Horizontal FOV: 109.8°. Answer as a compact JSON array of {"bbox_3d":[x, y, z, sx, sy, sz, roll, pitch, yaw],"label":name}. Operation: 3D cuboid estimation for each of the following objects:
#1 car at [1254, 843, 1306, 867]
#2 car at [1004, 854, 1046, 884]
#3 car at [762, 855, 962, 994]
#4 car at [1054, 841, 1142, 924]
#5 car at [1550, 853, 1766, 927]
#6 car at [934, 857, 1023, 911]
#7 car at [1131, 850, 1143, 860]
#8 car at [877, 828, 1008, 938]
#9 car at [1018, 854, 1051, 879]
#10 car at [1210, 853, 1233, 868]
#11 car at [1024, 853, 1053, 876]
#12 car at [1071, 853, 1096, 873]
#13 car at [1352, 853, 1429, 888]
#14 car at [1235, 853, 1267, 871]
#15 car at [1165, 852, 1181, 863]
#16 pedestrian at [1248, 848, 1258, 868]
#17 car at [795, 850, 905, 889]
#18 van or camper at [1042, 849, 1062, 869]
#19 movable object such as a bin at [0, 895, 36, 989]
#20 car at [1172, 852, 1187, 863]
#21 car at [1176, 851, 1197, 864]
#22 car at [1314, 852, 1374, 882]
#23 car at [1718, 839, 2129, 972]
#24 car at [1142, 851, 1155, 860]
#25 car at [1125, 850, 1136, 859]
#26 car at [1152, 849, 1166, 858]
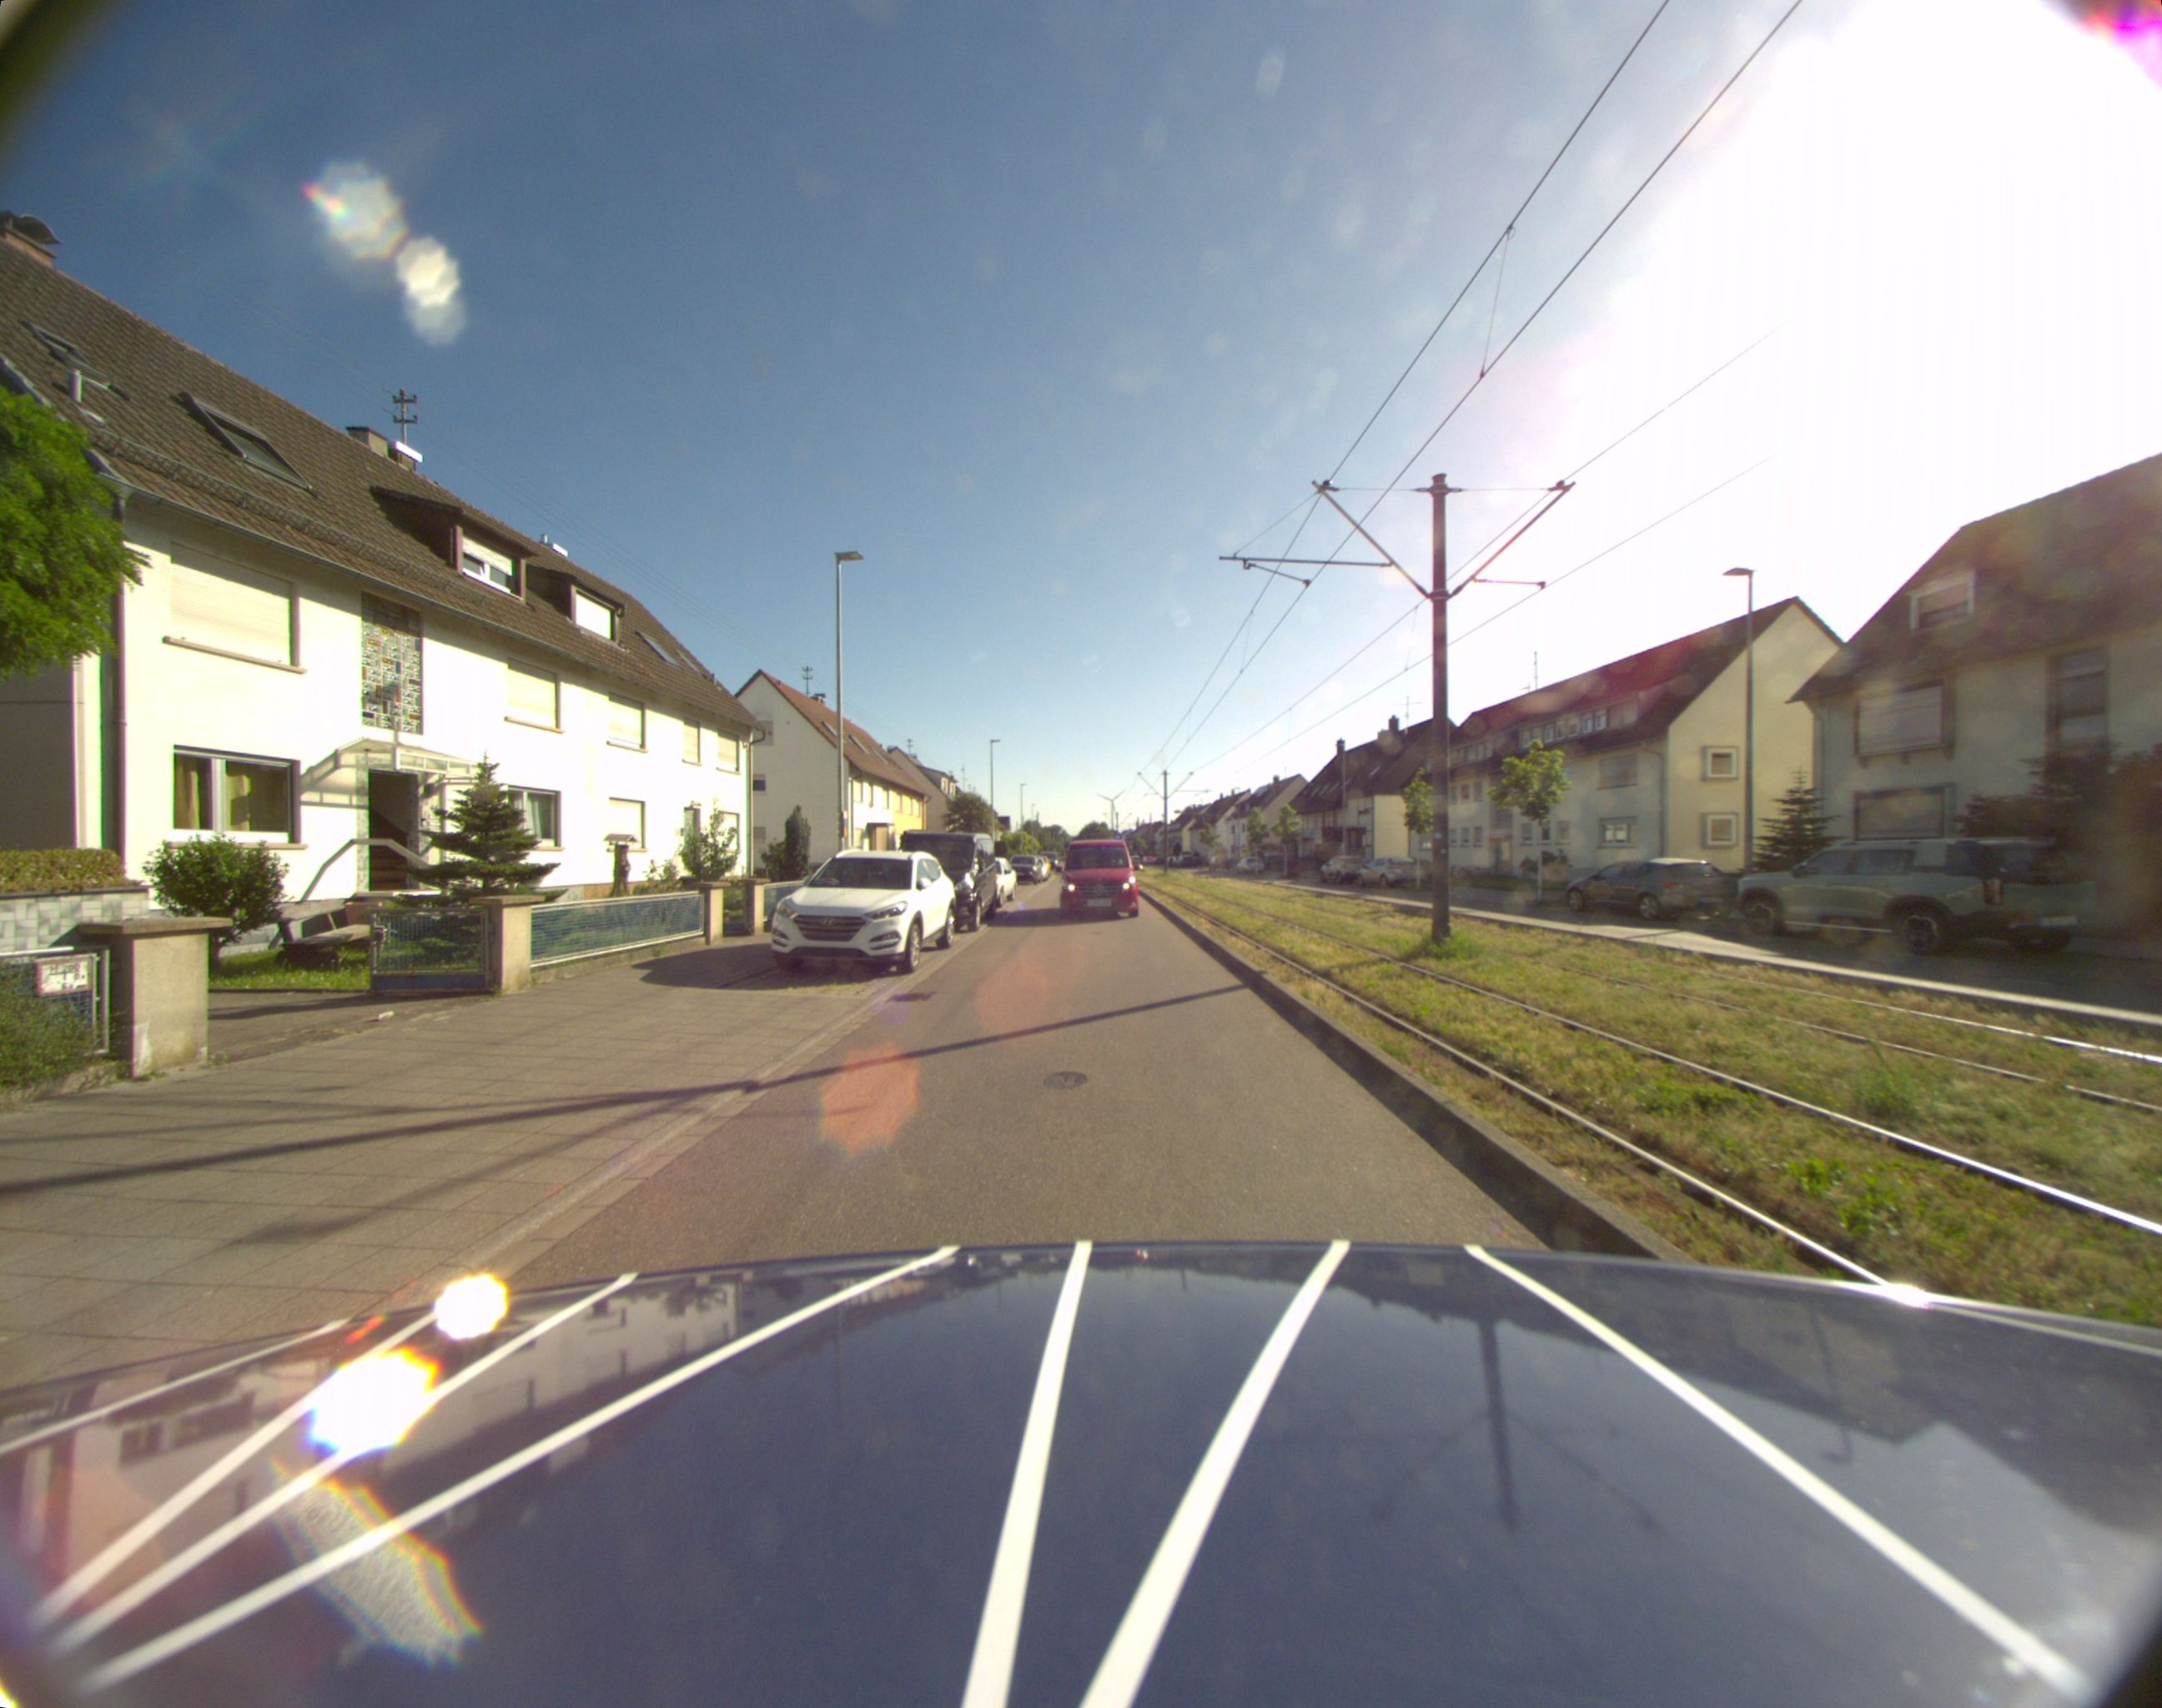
[{"bbox_3d":[19.180,0.073,73.295,4.472,2.069,1.787,-4,1,1],"label":"car"},{"bbox_3d":[-2.959,0.773,40.924,1.782,1.490,4.728,0,0,1],"label":"car"},{"bbox_3d":[-3.059,0.880,11.569,1.730,1.636,4.318,1,1,1],"label":"car"},{"bbox_3d":[0.358,0.630,20.274,1.999,1.889,5.389,-1,1,-1],"label":"car"},{"bbox_3d":[14.149,0.788,19.042,1.965,1.531,4.556,-2,1,1],"label":"car"},{"bbox_3d":[-3.102,0.860,24.242,1.857,1.435,5.614,2,0,2],"label":"car"},{"bbox_3d":[9.275,0.154,126.115,1.693,1.467,3.679,-2,1,-1],"label":"car"},{"bbox_3d":[-2.973,0.548,17.558,1.964,2.132,5.335,1,1,1],"label":"car"},{"bbox_3d":[-2.808,0.759,46.452,1.752,1.438,4.698,0,-1,0],"label":"car"},{"bbox_3d":[14.274,0.646,77.529,1.623,1.503,4.085,-2,0,1],"label":"car"},{"bbox_3d":[-2.964,0.712,54.051,1.810,1.550,4.925,1,1,0],"label":"car"},{"bbox_3d":[0.219,0.773,66.707,1.862,1.592,4.327,2,1,-3],"label":"car"},{"bbox_3d":[14.305,0.715,35.363,1.693,1.467,4.442,-2,1,-1],"label":"car"},{"bbox_3d":[14.412,0.633,64.637,1.662,1.428,4.102,-1,0,-1],"label":"car"},{"bbox_3d":[13.170,0.441,108.951,1.658,1.447,4.400,-2,1,-1],"label":"car"},{"bbox_3d":[16.113,0.393,71.225,0.617,1.805,0.678,-2,1,-9],"label":"pedestrian"},{"bbox_3d":[-10.528,0.699,34.914,4.426,1.645,2.196,-1,1,-3],"label":"car"},{"bbox_3d":[-2.846,0.462,76.193,1.954,1.836,5.581,1,1,-1],"label":"van or camper"},{"bbox_3d":[-12.725,1.002,8.571,1.062,1.054,0.578,0,1,1],"label":"movable object such as a bin"},{"bbox_3d":[13.473,0.470,104.065,1.469,1.459,3.998,0,0,-2],"label":"car"},{"bbox_3d":[13.656,0.379,98.882,1.926,1.551,4.857,-2,1,-2],"label":"car"},{"bbox_3d":[14.314,0.691,41.537,1.693,1.464,4.313,-2,1,-1],"label":"car"},{"bbox_3d":[13.871,0.705,13.095,1.749,1.812,4.841,-2,0,1],"label":"car"},{"bbox_3d":[12.002,0.256,135.819,1.832,1.522,4.091,-2,1,-1],"label":"car"},{"bbox_3d":[9.183,0.061,140.197,1.693,1.467,4.082,-2,1,-1],"label":"car"},{"bbox_3d":[12.776,-0.034,124.172,1.704,1.389,4.091,-2,1,-1],"label":"car"}]
